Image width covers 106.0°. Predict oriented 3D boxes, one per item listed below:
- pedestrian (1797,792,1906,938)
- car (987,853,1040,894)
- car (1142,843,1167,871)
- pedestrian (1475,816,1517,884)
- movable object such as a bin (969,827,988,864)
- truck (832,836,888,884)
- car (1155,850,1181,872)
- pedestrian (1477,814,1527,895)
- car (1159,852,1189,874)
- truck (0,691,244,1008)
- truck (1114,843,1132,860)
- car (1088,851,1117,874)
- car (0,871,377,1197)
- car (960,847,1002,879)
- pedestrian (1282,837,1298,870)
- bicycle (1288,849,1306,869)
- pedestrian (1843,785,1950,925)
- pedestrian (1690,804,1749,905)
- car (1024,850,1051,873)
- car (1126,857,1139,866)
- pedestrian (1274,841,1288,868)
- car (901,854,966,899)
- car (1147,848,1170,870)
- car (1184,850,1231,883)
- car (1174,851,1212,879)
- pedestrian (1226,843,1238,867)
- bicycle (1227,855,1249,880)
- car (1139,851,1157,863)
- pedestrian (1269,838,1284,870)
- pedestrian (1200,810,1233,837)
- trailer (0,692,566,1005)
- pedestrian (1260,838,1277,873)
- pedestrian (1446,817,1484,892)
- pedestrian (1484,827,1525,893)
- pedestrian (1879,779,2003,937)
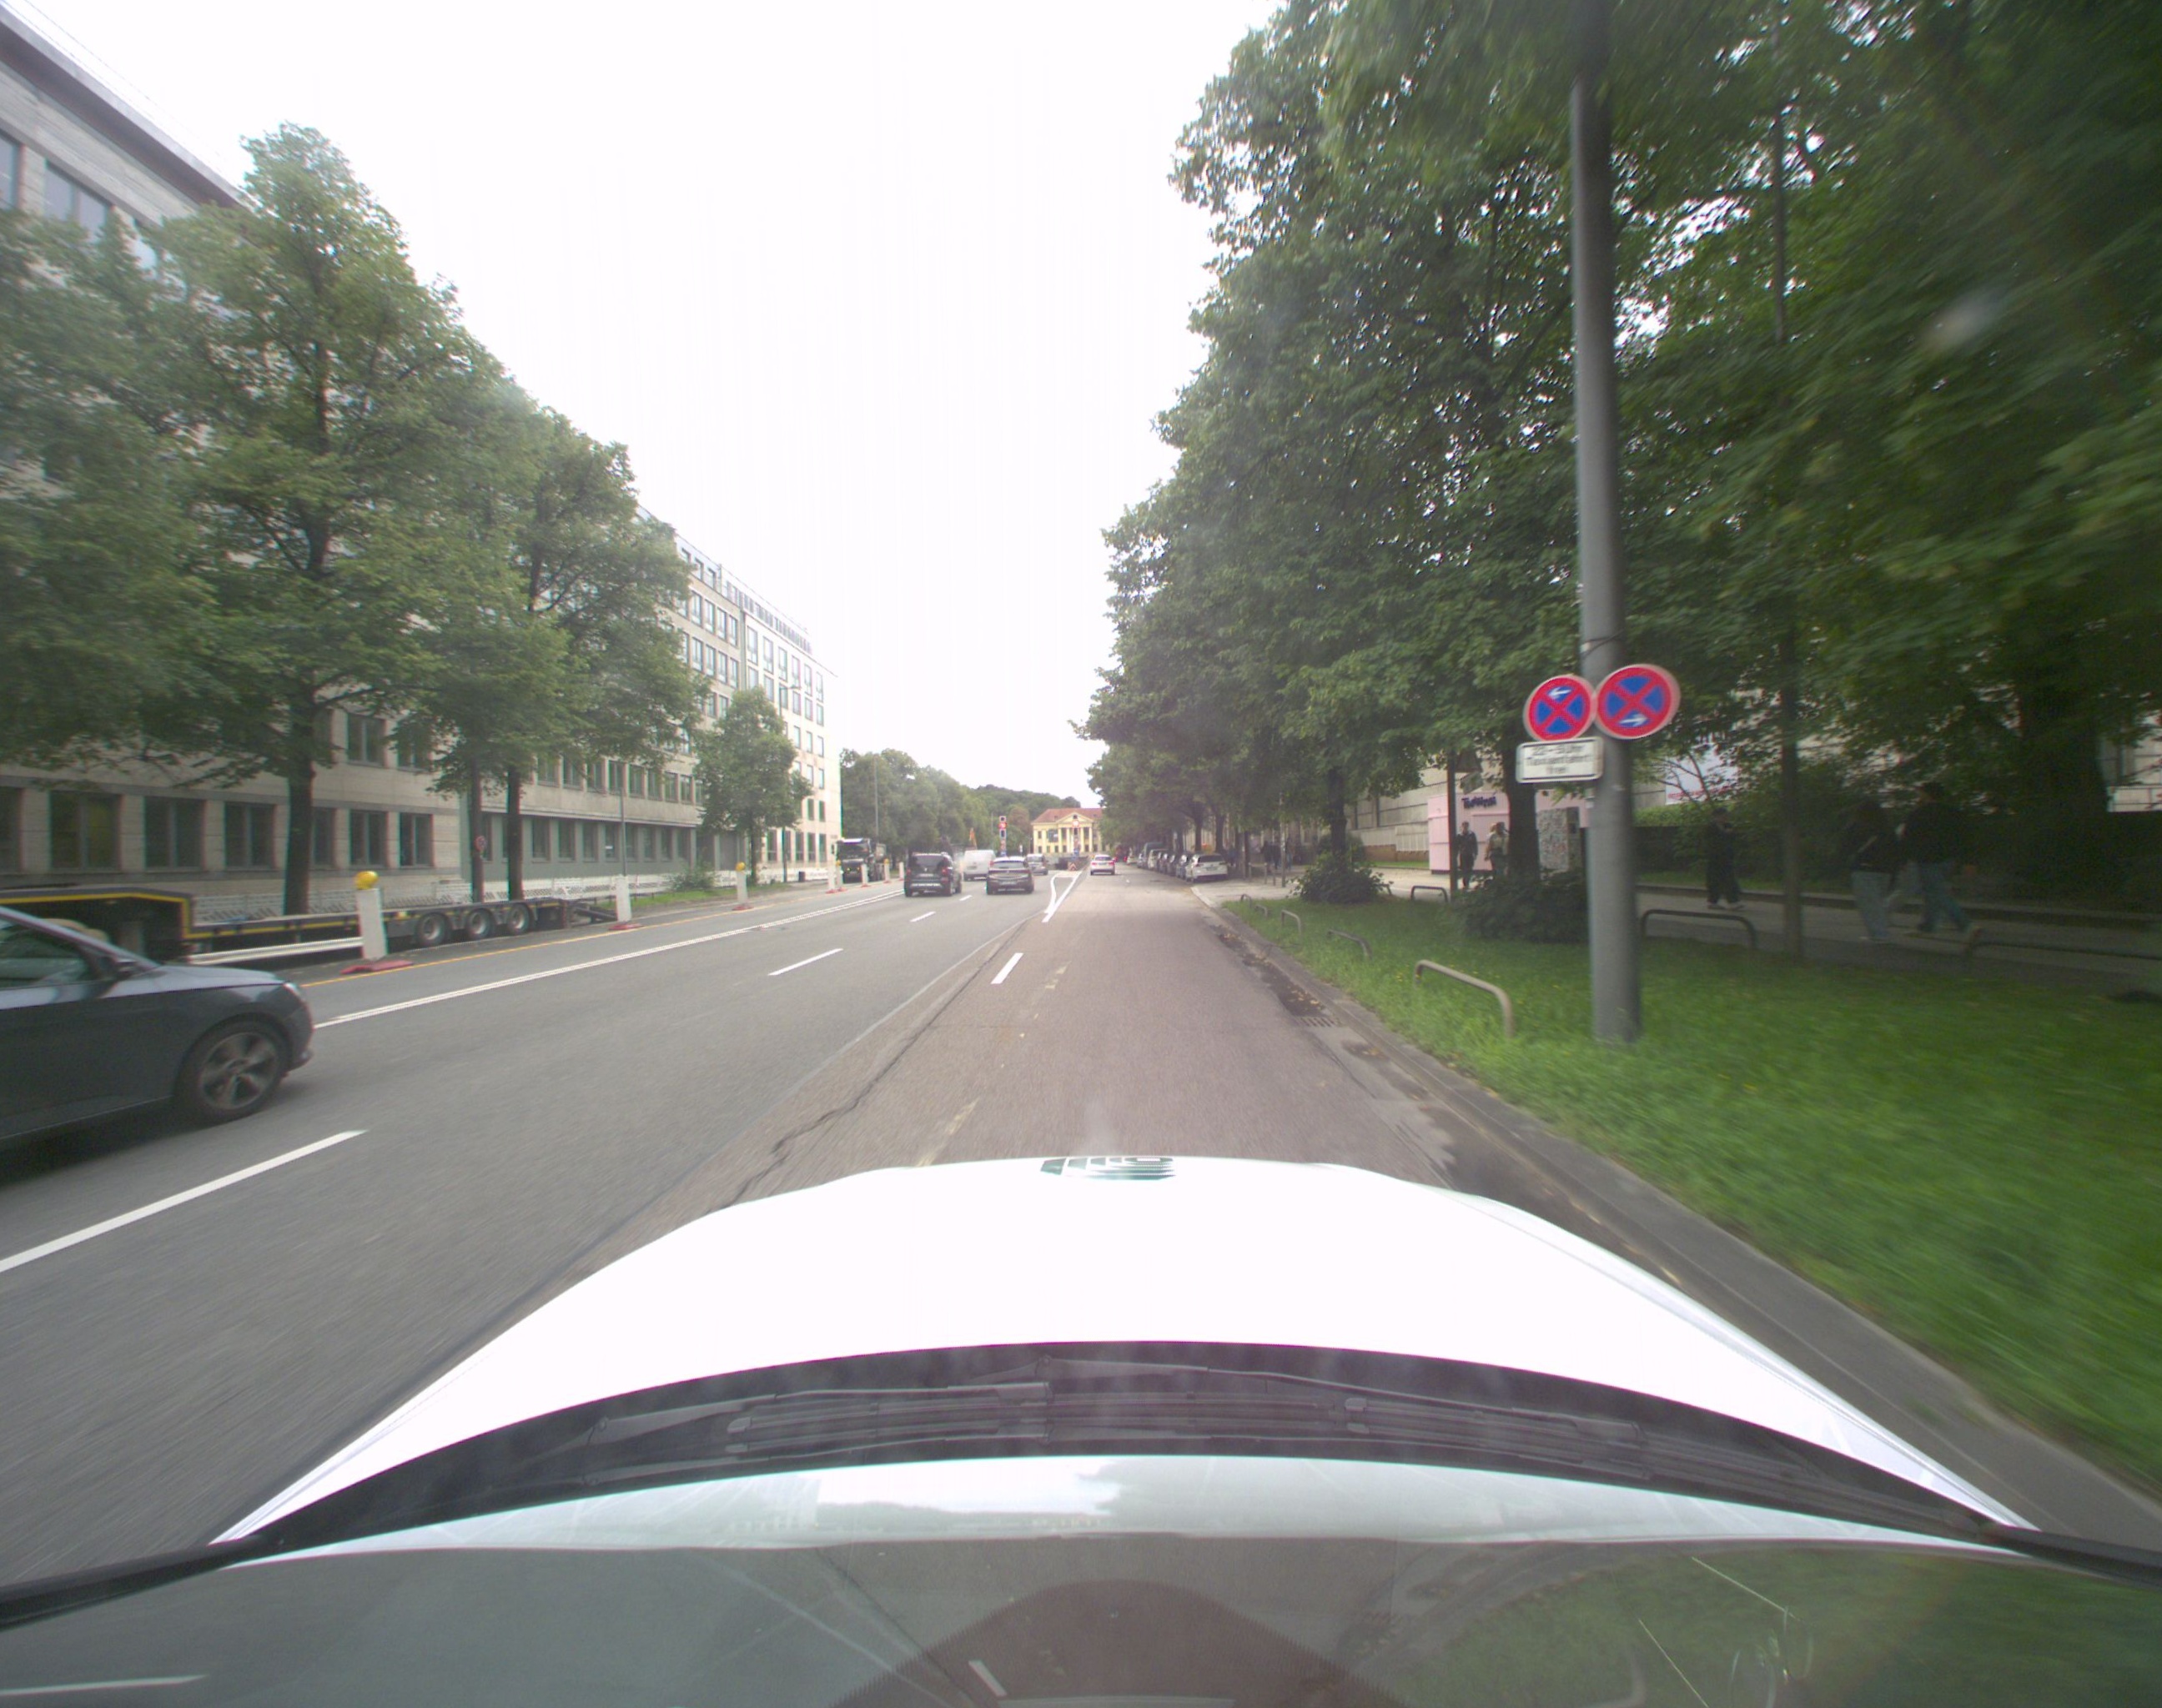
[{"bbox_3d":[9.234,0.130,9.786,0.605,1.681,0.754,0,0,5],"label":"pedestrian"},{"bbox_3d":[-2.707,0.756,33.421,1.704,1.552,4.001,0,0,1],"label":"car"},{"bbox_3d":[7.240,0.267,80.491,1.987,2.643,4.877,0,0,0],"label":"car"},{"bbox_3d":[11.322,-0.104,22.236,0.597,1.809,0.719,-3,0,-23],"label":"pedestrian"},{"bbox_3d":[-18.597,-1.501,147.739,2.690,6.511,5.177,0,0,1],"label":"movable object such as a bin"},{"bbox_3d":[-16.562,0.397,61.617,2.838,3.357,8.742,0,0,-7],"label":"truck"},{"bbox_3d":[7.030,0.559,66.041,1.718,1.665,4.591,-2,0,2],"label":"car"},{"bbox_3d":[10.895,0.014,21.094,0.760,2.013,0.777,-4,0,1],"label":"pedestrian"},{"bbox_3d":[6.803,0.654,59.815,1.816,1.464,4.029,-2,0,2],"label":"car"},{"bbox_3d":[-14.303,-0.049,8.753,2.909,3.774,7.657,0,0,-3],"label":"truck"},{"bbox_3d":[8.410,-0.492,164.500,3.313,3.367,8.664,0,0,1],"label":"truck"},{"bbox_3d":[1.549,0.615,59.673,1.776,1.644,3.994,0,0,-4],"label":"car"},{"bbox_3d":[-5.798,0.851,3.507,1.787,1.447,4.274,-2,0,0],"label":"car"},{"bbox_3d":[-6.195,0.554,50.968,1.892,1.847,4.956,-2,0,1],"label":"car"},{"bbox_3d":[12.247,-0.022,47.674,0.761,1.910,0.771,0,0,2],"label":"pedestrian"},{"bbox_3d":[15.747,0.338,59.379,0.697,1.415,2.299,-2,0,1],"label":"bicycle"},{"bbox_3d":[10.751,0.017,10.763,0.627,1.774,0.783,0,0,5],"label":"pedestrian"},{"bbox_3d":[10.822,0.013,13.822,0.577,1.675,0.554,0,0,5],"label":"pedestrian"},{"bbox_3d":[-3.224,0.569,61.535,1.773,1.654,4.000,0,0,1],"label":"car"},{"bbox_3d":[8.027,1.210,127.164,1.718,1.324,4.029,-2,0,2],"label":"car"},{"bbox_3d":[14.329,0.036,58.340,0.776,1.910,0.771,0,0,2],"label":"pedestrian"},{"bbox_3d":[-5.757,0.856,32.344,1.717,1.636,4.205,-2,0,1],"label":"car"},{"bbox_3d":[6.933,0.474,73.309,1.718,1.867,4.029,-2,0,2],"label":"car"},{"bbox_3d":[6.487,0.620,42.355,1.820,1.549,4.753,-2,0,2],"label":"car"},{"bbox_3d":[6.570,0.621,48.247,1.718,1.549,4.587,-2,0,2],"label":"car"},{"bbox_3d":[12.221,0.052,65.954,0.776,1.910,0.771,0,0,2],"label":"pedestrian"},{"bbox_3d":[8.021,0.683,41.735,0.626,1.231,2.617,0,0,-1],"label":"bicycle"},{"bbox_3d":[7.615,0.353,92.905,1.718,1.324,4.029,-2,0,2],"label":"car"},{"bbox_3d":[11.485,-0.002,47.766,0.696,1.910,0.771,0,0,2],"label":"pedestrian"},{"bbox_3d":[10.681,-2.372,64.350,1.986,2.013,4.001,0,0,1],"label":"pedestrian"},{"bbox_3d":[-14.643,-0.051,15.319,2.943,3.740,11.758,0,0,-3],"label":"trailer"},{"bbox_3d":[10.296,0.066,44.737,0.776,1.910,0.771,0,0,2],"label":"pedestrian"},{"bbox_3d":[10.659,0.021,22.607,0.592,2.013,0.725,-4,0,2],"label":"pedestrian"},{"bbox_3d":[11.974,0.163,23.017,0.597,1.809,0.719,-3,0,-23],"label":"pedestrian"},{"bbox_3d":[9.967,0.047,9.469,0.605,1.763,0.798,0,0,5],"label":"pedestrian"}]
